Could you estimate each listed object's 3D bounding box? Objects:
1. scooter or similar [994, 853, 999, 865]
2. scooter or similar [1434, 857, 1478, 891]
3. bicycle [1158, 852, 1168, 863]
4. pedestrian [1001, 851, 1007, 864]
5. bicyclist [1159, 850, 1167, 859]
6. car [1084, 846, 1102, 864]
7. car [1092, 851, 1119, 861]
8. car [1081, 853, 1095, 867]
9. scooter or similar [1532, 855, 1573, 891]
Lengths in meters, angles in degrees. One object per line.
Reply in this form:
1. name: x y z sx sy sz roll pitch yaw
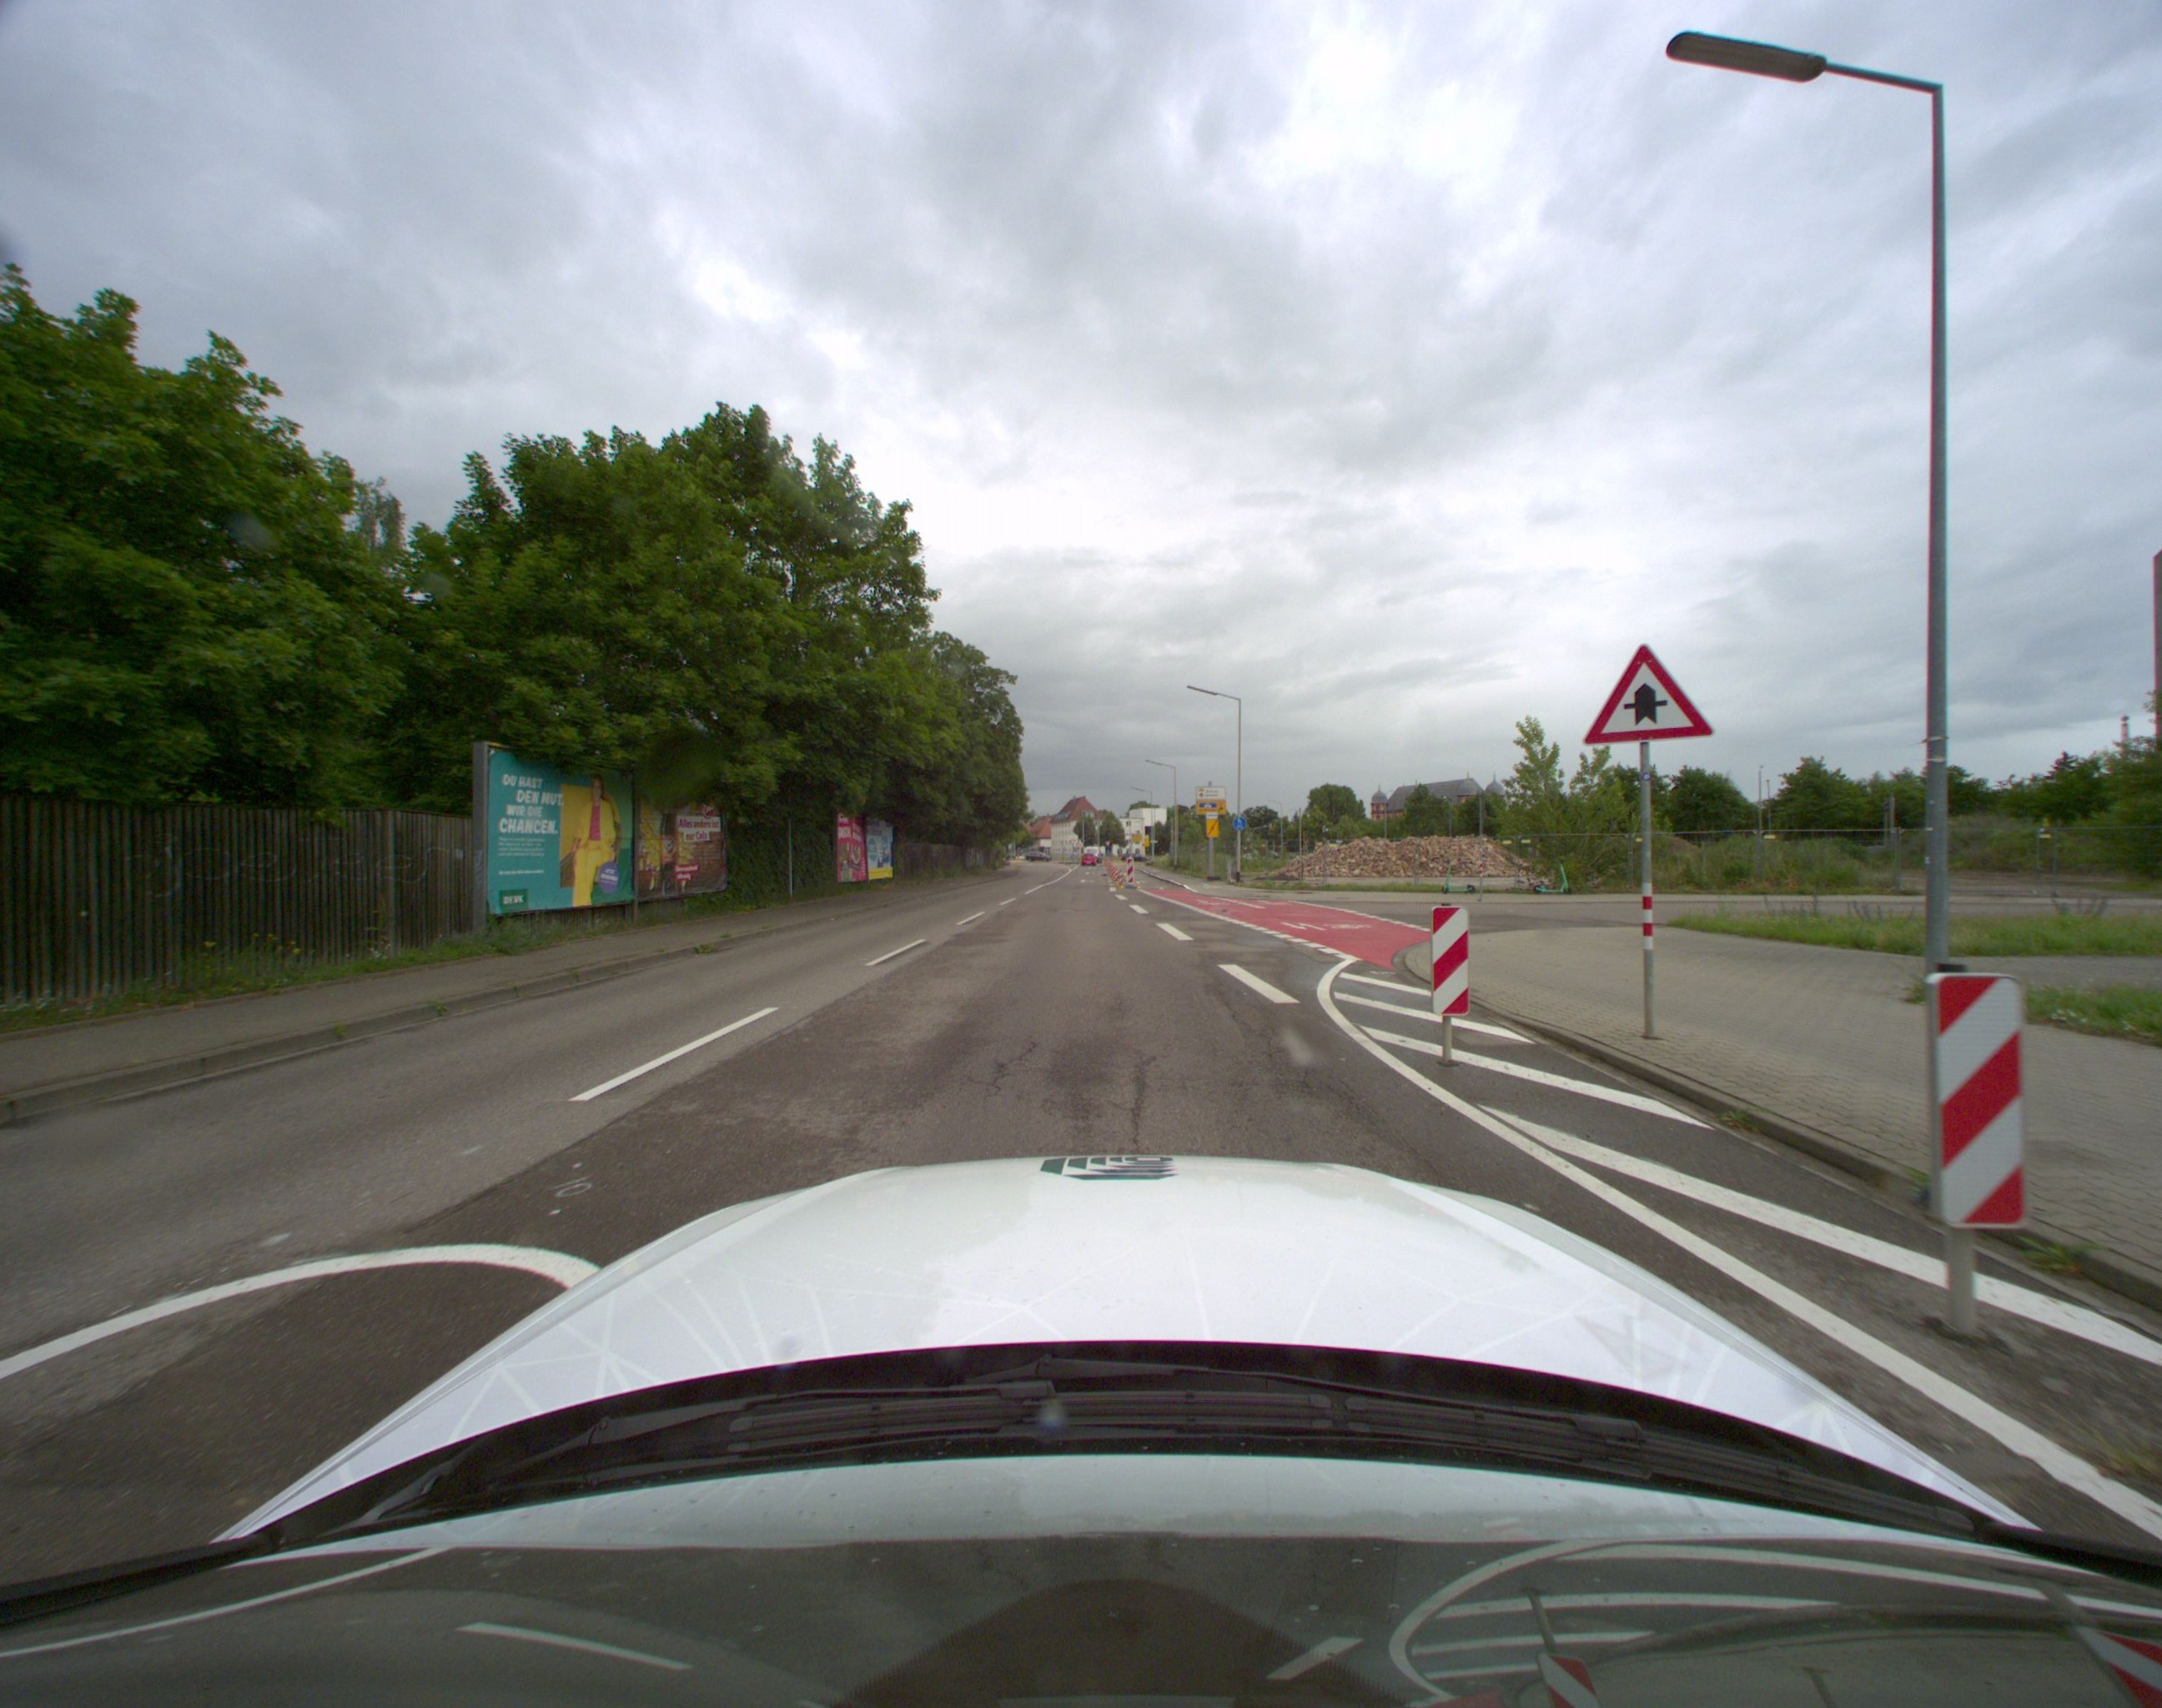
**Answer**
1. scooter or similar: -7.953 0.474 76.431 0.422 1.170 1.301 -1 0 -4
2. scooter or similar: 13.177 0.688 28.604 1.310 1.185 0.449 -1 0 41
3. bicycle: 11.929 0.475 118.374 1.471 1.612 0.606 -1 0 3
4. pedestrian: -9.022 0.366 95.167 0.611 1.529 0.723 -1 0 -4
5. bicyclist: 11.930 0.062 118.373 1.057 1.401 0.615 -1 0 3
6. car: 1.783 0.154 122.788 2.183 2.540 4.972 1 0 7
7. car: 4.358 0.411 145.317 4.550 1.795 2.128 -1 0 43
8. car: 0.842 0.775 99.160 1.667 1.640 3.628 1 0 1
9. scooter or similar: 15.911 0.636 27.506 1.159 1.185 0.448 -1 0 26
